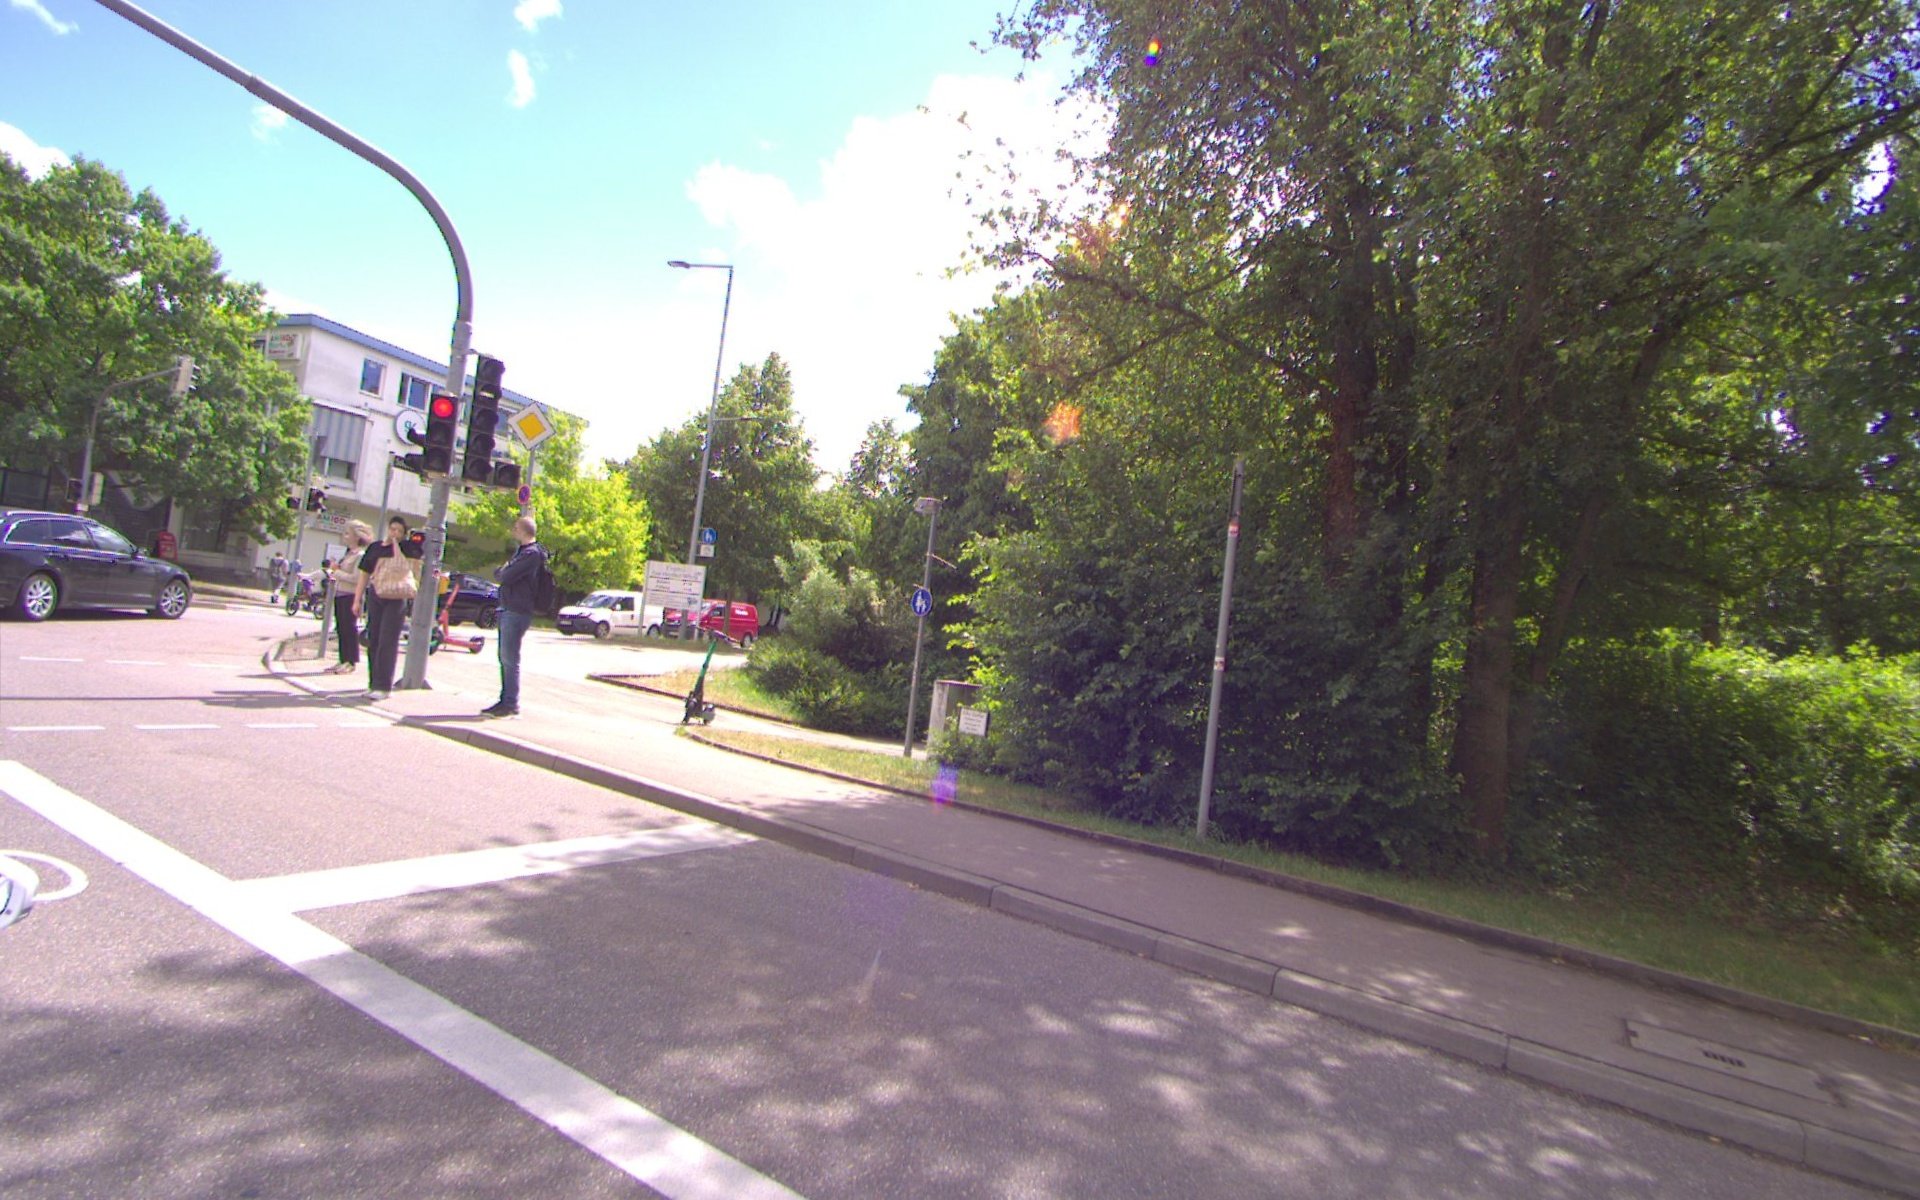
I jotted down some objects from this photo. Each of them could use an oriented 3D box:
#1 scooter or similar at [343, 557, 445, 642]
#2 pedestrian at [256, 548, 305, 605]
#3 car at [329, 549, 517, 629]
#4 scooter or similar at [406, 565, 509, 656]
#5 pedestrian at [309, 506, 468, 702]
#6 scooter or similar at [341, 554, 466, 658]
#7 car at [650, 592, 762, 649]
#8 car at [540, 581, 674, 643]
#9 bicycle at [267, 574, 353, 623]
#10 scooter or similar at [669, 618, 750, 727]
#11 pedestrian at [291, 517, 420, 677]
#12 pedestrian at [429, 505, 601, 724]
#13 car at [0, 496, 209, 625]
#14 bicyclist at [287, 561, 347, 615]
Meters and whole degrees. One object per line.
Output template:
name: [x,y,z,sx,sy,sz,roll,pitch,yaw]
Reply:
scooter or similar: [-8.937,0.023,15.946,0.533,1.168,1.362,9,-3,7]
pedestrian: [-21.974,-0.748,32.536,0.758,1.662,0.906,7,-2,30]
car: [-15.896,-0.268,30.073,1.964,1.737,4.574,7,-2,25]
scooter or similar: [-7.928,0.187,15.914,0.547,1.254,1.231,8,-3,23]
pedestrian: [-5.672,0.055,10.027,0.758,1.787,0.936,7,0,20]
scooter or similar: [-7.878,0.102,14.281,0.455,1.292,1.344,8,-1,38]
car: [-10.599,0.902,42.383,1.964,1.885,4.822,5,-3,23]
car: [-12.941,0.488,37.220,1.963,1.737,4.576,7,-2,23]
bicycle: [-14.214,-0.035,21.991,1.778,0.828,0.793,6,-2,31]
scooter or similar: [-3.340,0.999,13.527,0.706,1.287,1.243,10,-7,-7]
pedestrian: [-6.933,-0.033,11.537,0.950,1.694,0.860,7,-1,-43]
pedestrian: [-4.316,0.160,9.806,0.881,1.964,0.968,7,-1,28]
car: [-13.053,-0.575,14.174,1.967,1.571,4.516,7,-2,-10]
bicyclist: [-13.985,-0.265,21.876,0.625,1.034,0.793,7,-2,31]
